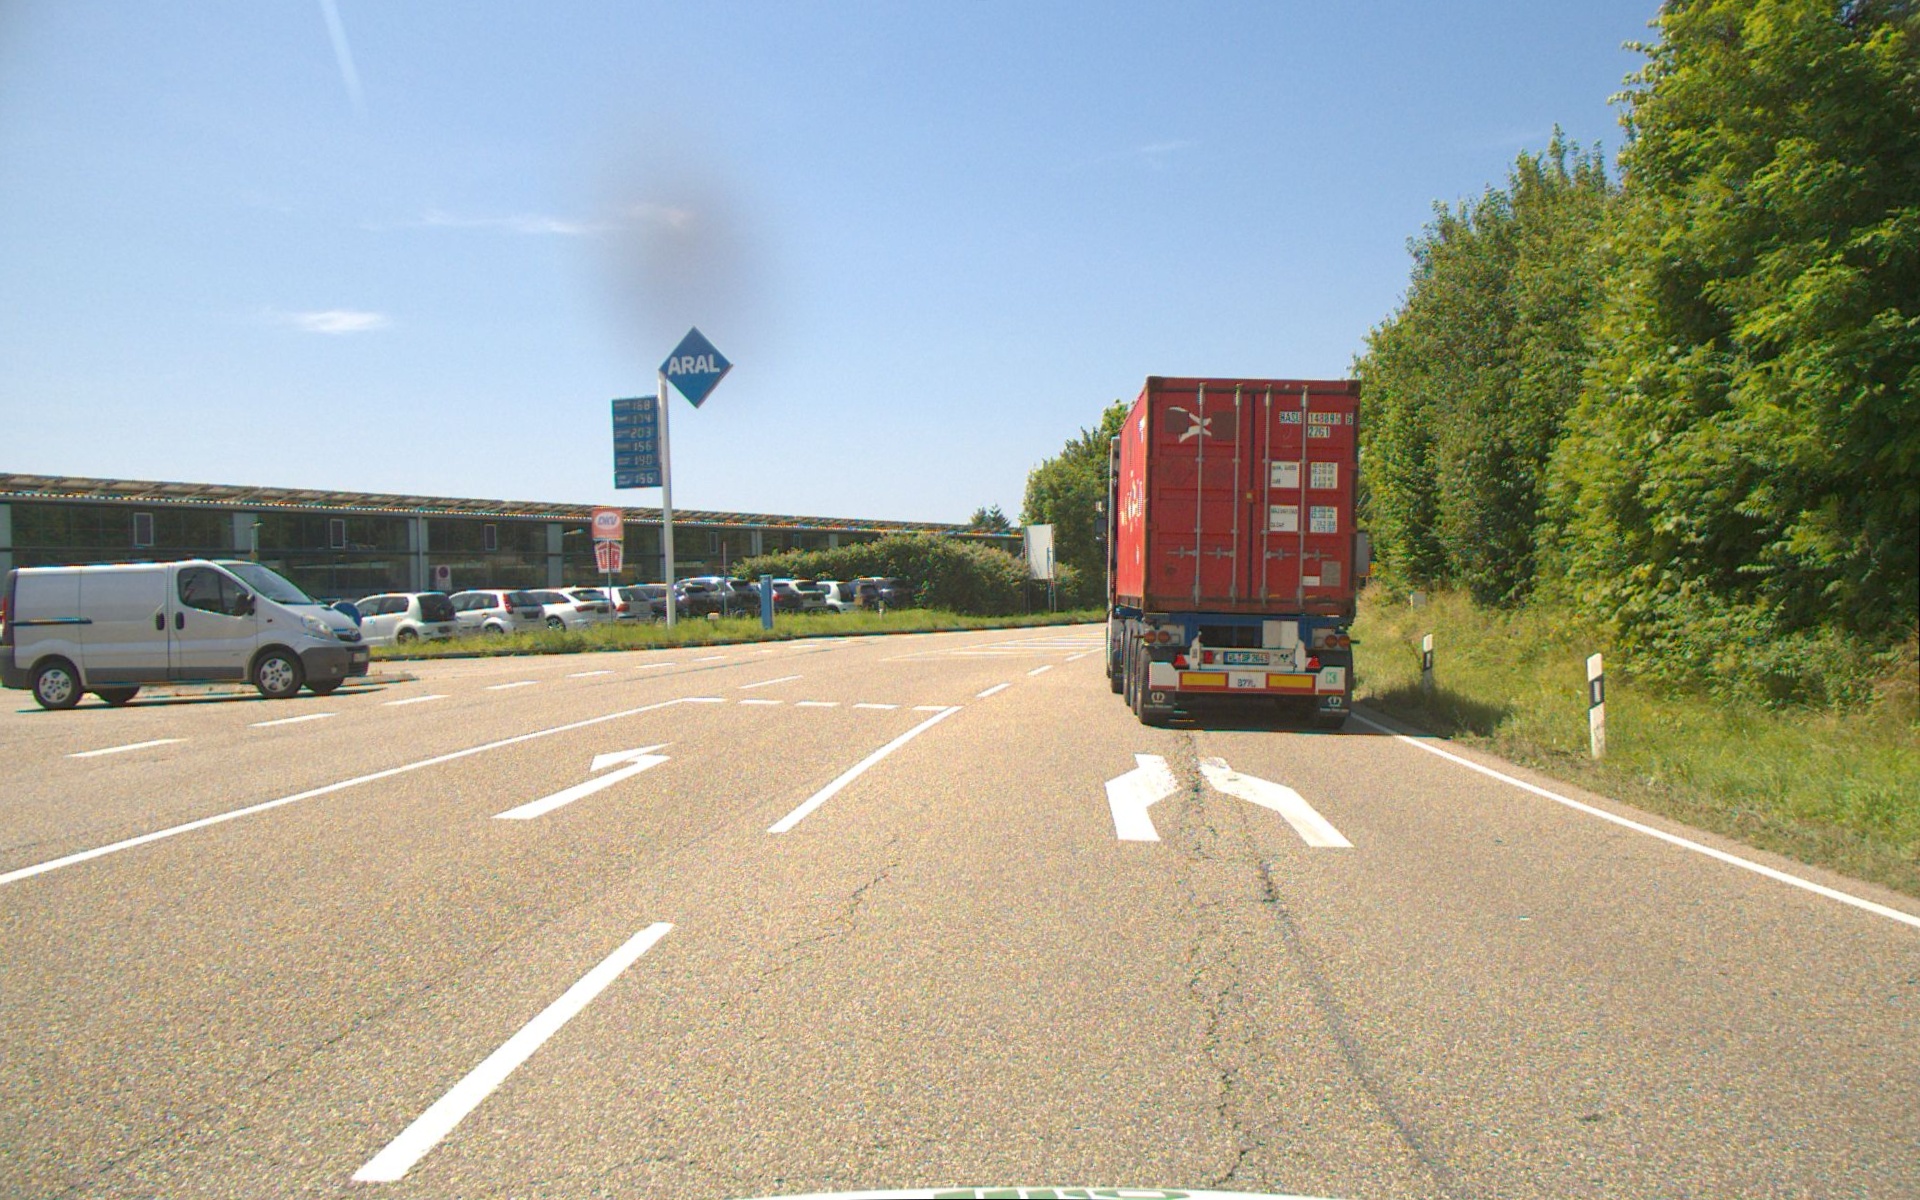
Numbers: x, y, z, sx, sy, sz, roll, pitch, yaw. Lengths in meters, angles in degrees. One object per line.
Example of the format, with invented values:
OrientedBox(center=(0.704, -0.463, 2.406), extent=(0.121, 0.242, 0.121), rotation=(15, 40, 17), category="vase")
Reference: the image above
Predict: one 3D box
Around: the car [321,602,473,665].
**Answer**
OrientedBox(center=(-13.968, 0.831, 41.036), extent=(3.372, 1.466, 1.563), rotation=(-1, 0, 22), category="car")

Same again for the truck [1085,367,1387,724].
OrientedBox(center=(3.549, -0.605, 24.929), extent=(2.593, 3.873, 13.362), rotation=(1, 0, 2), category="truck")

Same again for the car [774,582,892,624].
OrientedBox(center=(-4.705, 0.099, 61.206), extent=(3.905, 1.386, 1.820), rotation=(-3, 0, 22), category="car")

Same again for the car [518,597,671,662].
OrientedBox(center=(-10.488, 0.845, 47.423), extent=(3.908, 1.780, 1.933), rotation=(-1, 0, 25), category="car")

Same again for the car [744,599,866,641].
OrientedBox(center=(-5.534, 0.721, 59.205), extent=(3.906, 1.340, 1.833), rotation=(-3, 0, 22), category="car")

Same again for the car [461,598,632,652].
OrientedBox(center=(-11.241, 0.678, 44.985), extent=(4.151, 1.383, 1.999), rotation=(-1, 0, 23), category="car")

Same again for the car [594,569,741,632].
OrientedBox(center=(-8.718, 0.054, 49.321), extent=(3.908, 1.780, 1.998), rotation=(-1, -1, 25), category="car")

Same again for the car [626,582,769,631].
OrientedBox(center=(-8.162, 0.198, 51.412), extent=(3.907, 1.355, 1.999), rotation=(-3, 0, 25), category="car")

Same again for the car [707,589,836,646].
OrientedBox(center=(-6.470, 0.613, 56.897), extent=(3.907, 1.780, 1.999), rotation=(-3, 0, 25), category="car")

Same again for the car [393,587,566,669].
OrientedBox(center=(-12.476, 0.728, 42.977), extent=(3.906, 2.049, 1.999), rotation=(-1, 0, 23), category="car")

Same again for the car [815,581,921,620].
OrientedBox(center=(-3.530, 0.012, 63.434), extent=(3.623, 1.397, 1.802), rotation=(2, 0, 25), category="car")

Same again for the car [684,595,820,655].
OrientedBox(center=(-6.812, 0.823, 54.243), extent=(3.907, 1.780, 1.999), rotation=(-3, 0, 25), category="car")

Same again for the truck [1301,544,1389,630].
OrientedBox(center=(18.933, -0.628, 80.638), extent=(2.860, 3.782, 13.365), rotation=(-1, 0, 18), category="truck")

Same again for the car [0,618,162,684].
OrientedBox(center=(-23.093, 1.331, 42.669), extent=(4.486, 1.530, 2.000), rotation=(-3, 0, 23), category="car")

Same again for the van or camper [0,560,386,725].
OrientedBox(center=(-10.992, 0.572, 23.676), extent=(4.750, 1.937, 1.904), rotation=(-4, 1, -2), category="van or camper")
